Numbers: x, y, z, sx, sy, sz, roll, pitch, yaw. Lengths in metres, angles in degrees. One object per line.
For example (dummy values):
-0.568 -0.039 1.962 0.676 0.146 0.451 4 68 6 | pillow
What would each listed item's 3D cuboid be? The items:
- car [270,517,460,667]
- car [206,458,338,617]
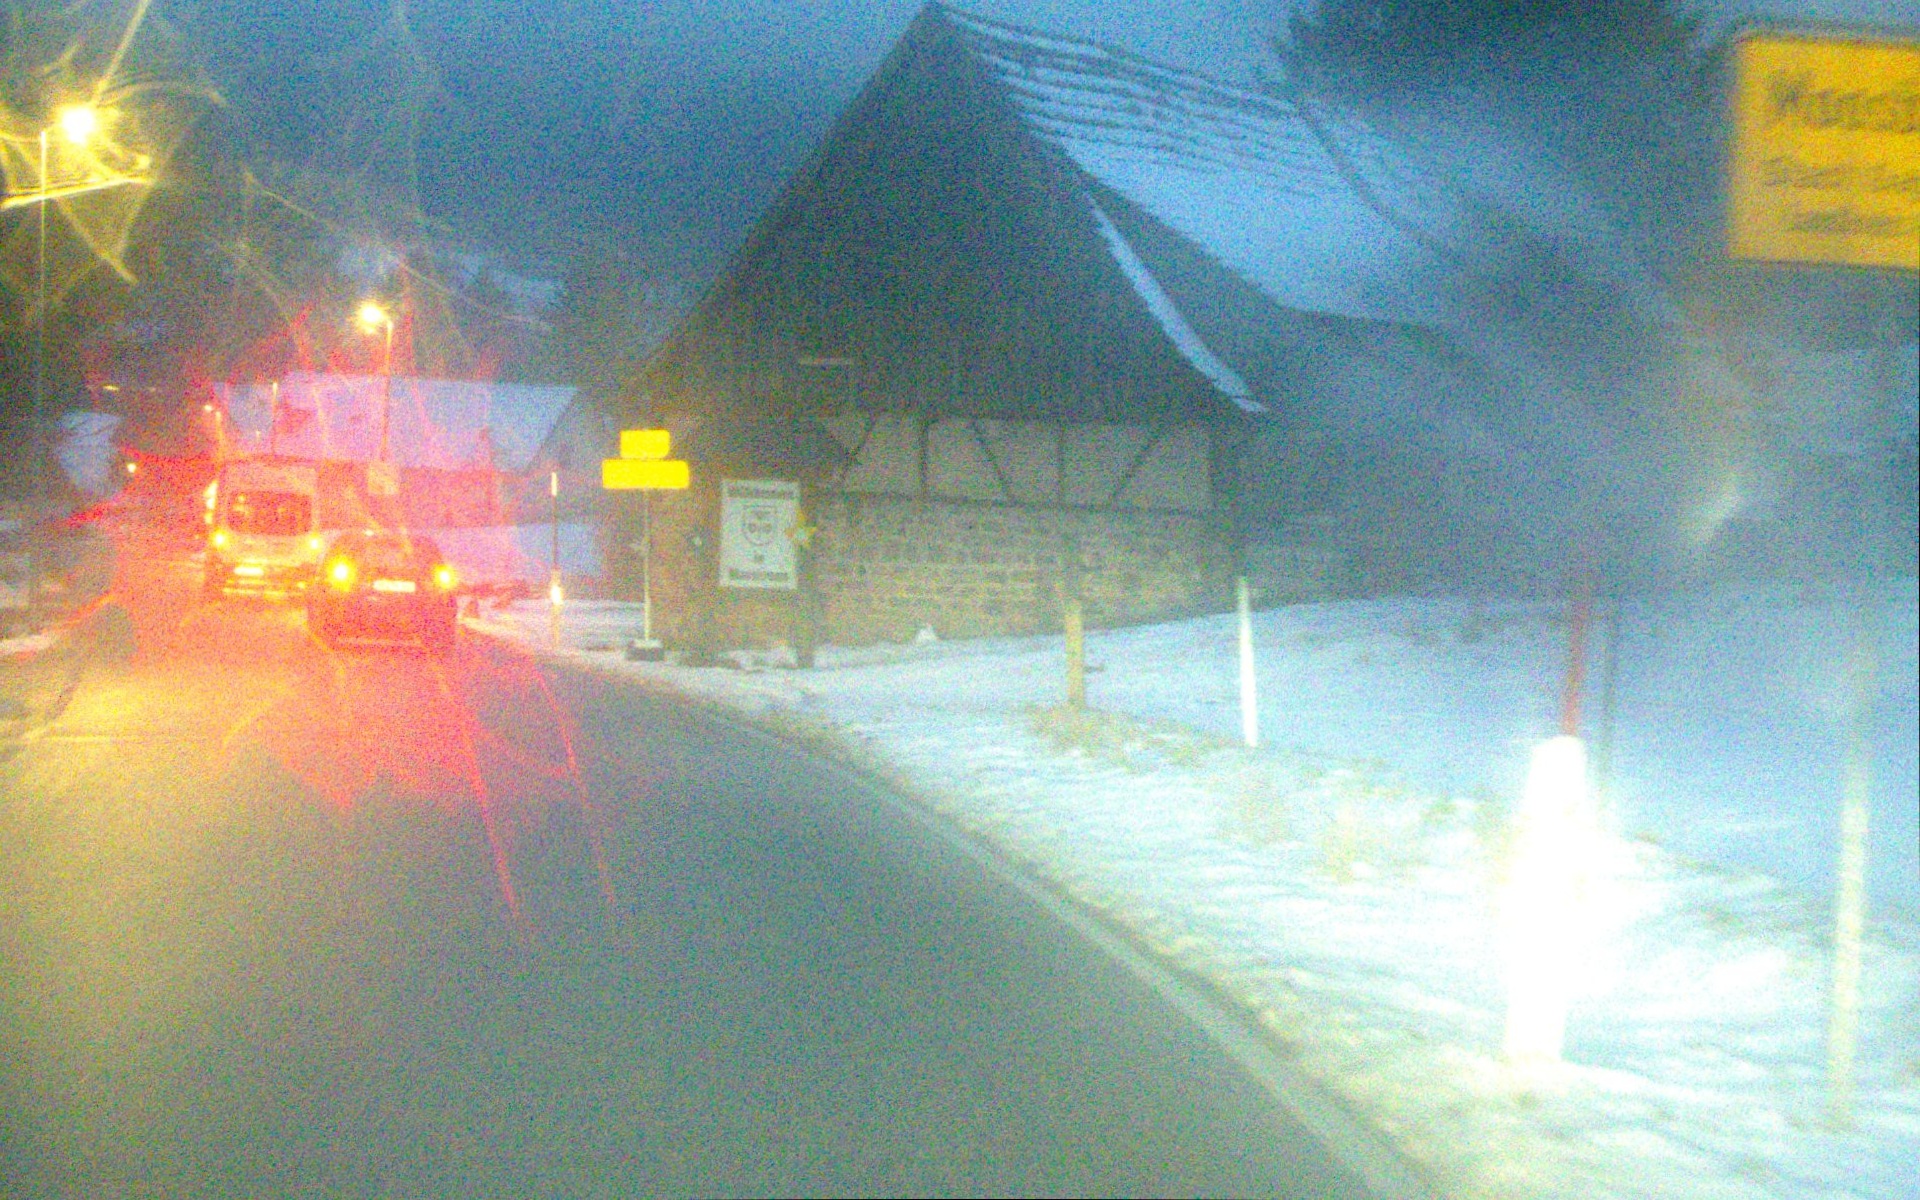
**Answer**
-7.881 -0.158 45.165 2.273 1.834 5.008 0 1 -12 | car
-13.668 -1.180 68.325 2.434 3.008 5.326 1 0 -11 | car
